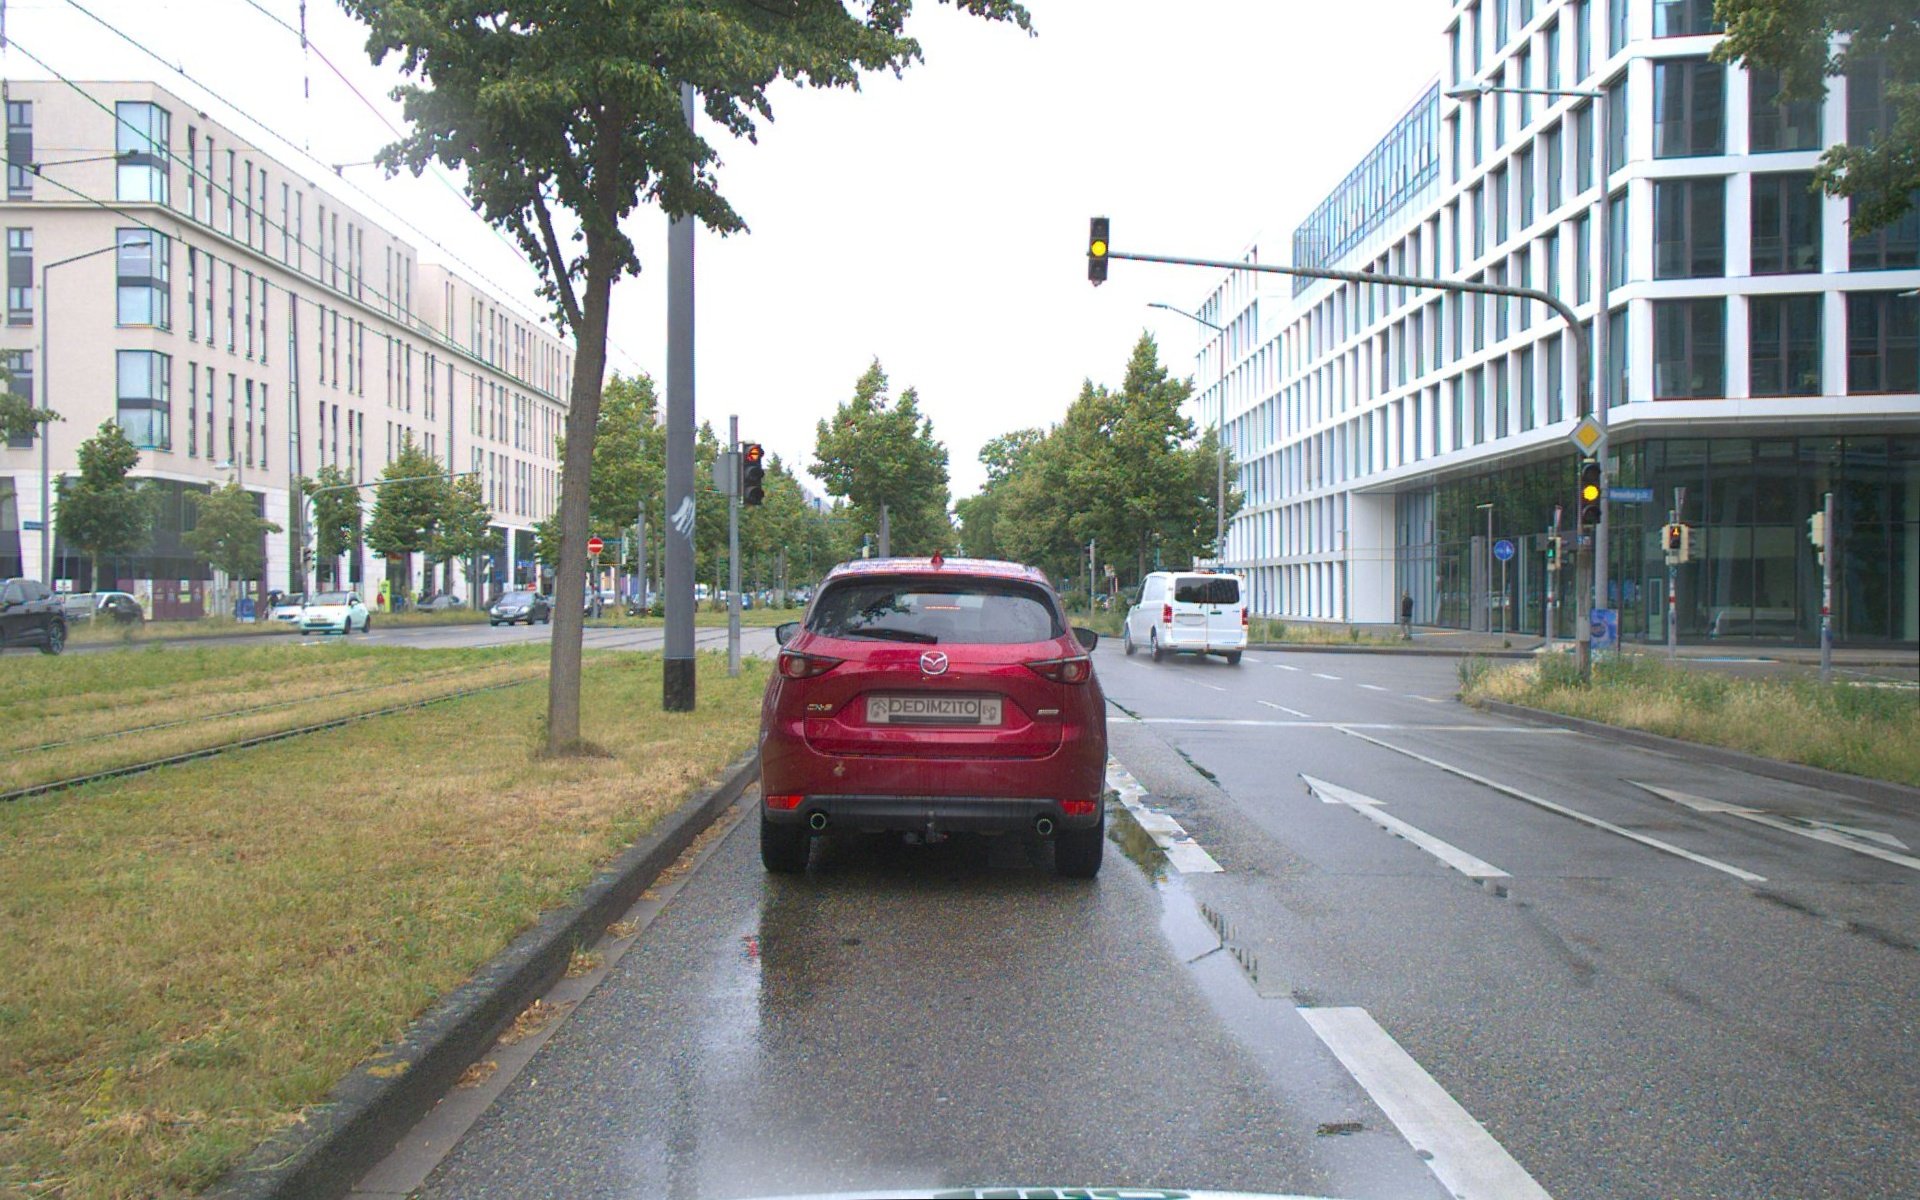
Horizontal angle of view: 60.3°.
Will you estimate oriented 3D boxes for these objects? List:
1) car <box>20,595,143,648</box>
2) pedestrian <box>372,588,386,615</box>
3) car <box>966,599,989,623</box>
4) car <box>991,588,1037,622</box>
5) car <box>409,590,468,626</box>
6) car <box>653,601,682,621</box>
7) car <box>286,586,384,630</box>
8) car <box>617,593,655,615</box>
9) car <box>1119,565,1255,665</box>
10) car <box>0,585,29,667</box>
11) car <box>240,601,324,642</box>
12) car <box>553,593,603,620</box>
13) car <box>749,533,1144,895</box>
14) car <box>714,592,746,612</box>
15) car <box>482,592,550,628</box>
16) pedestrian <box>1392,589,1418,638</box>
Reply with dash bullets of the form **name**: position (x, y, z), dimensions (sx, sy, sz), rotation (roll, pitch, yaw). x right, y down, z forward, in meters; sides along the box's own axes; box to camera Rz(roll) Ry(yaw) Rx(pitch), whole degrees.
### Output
- **car**: position (-28.736, 0.669, 54.264), dimensions (1.954, 1.626, 4.441), rotation (1, 0, -5)
- **pedestrian**: position (-37.149, 0.106, 105.786), dimensions (0.622, 1.747, 0.742), rotation (1, 0, 2)
- **car**: position (1.500, 0.974, 145.496), dimensions (1.953, 2.049, 4.000), rotation (0, 0, -1)
- **car**: position (2.449, 0.199, 76.088), dimensions (1.709, 1.490, 3.778), rotation (1, 0, -5)
- **car**: position (-28.220, 0.409, 89.605), dimensions (1.953, 1.870, 3.999), rotation (1, 0, -1)
- **car**: position (-23.595, 0.901, 133.486), dimensions (1.955, 1.510, 4.441), rotation (1, 0, -5)
- **car**: position (-22.263, 0.249, 59.053), dimensions (1.953, 1.510, 4.443), rotation (1, 0, -2)
- **car**: position (-23.348, 0.252, 119.381), dimensions (1.953, 1.510, 4.444), rotation (0, 0, -2)
- **car**: position (4.867, 0.309, 36.146), dimensions (1.928, 2.014, 5.087), rotation (1, 0, -4)
- **car**: position (-20.328, 0.535, 32.474), dimensions (1.953, 1.646, 3.999), rotation (0, 0, -2)
- **car**: position (-28.233, 0.872, 68.974), dimensions (1.953, 1.646, 3.999), rotation (0, 0, -2)
- **car**: position (-22.808, 0.381, 98.937), dimensions (1.953, 1.510, 4.445), rotation (1, 0, 0)
- **car**: position (-0.095, 0.527, 9.847), dimensions (1.859, 1.706, 3.999), rotation (1, 0, -1)
- **car**: position (-17.924, 0.147, 129.243), dimensions (1.953, 1.510, 4.444), rotation (0, 0, -1)
- **car**: position (-19.883, 0.429, 74.289), dimensions (1.953, 1.510, 4.444), rotation (1, 0, -2)
- **pedestrian**: position (15.805, 0.467, 58.768), dimensions (0.664, 1.737, 0.783), rotation (1, 0, -5)
